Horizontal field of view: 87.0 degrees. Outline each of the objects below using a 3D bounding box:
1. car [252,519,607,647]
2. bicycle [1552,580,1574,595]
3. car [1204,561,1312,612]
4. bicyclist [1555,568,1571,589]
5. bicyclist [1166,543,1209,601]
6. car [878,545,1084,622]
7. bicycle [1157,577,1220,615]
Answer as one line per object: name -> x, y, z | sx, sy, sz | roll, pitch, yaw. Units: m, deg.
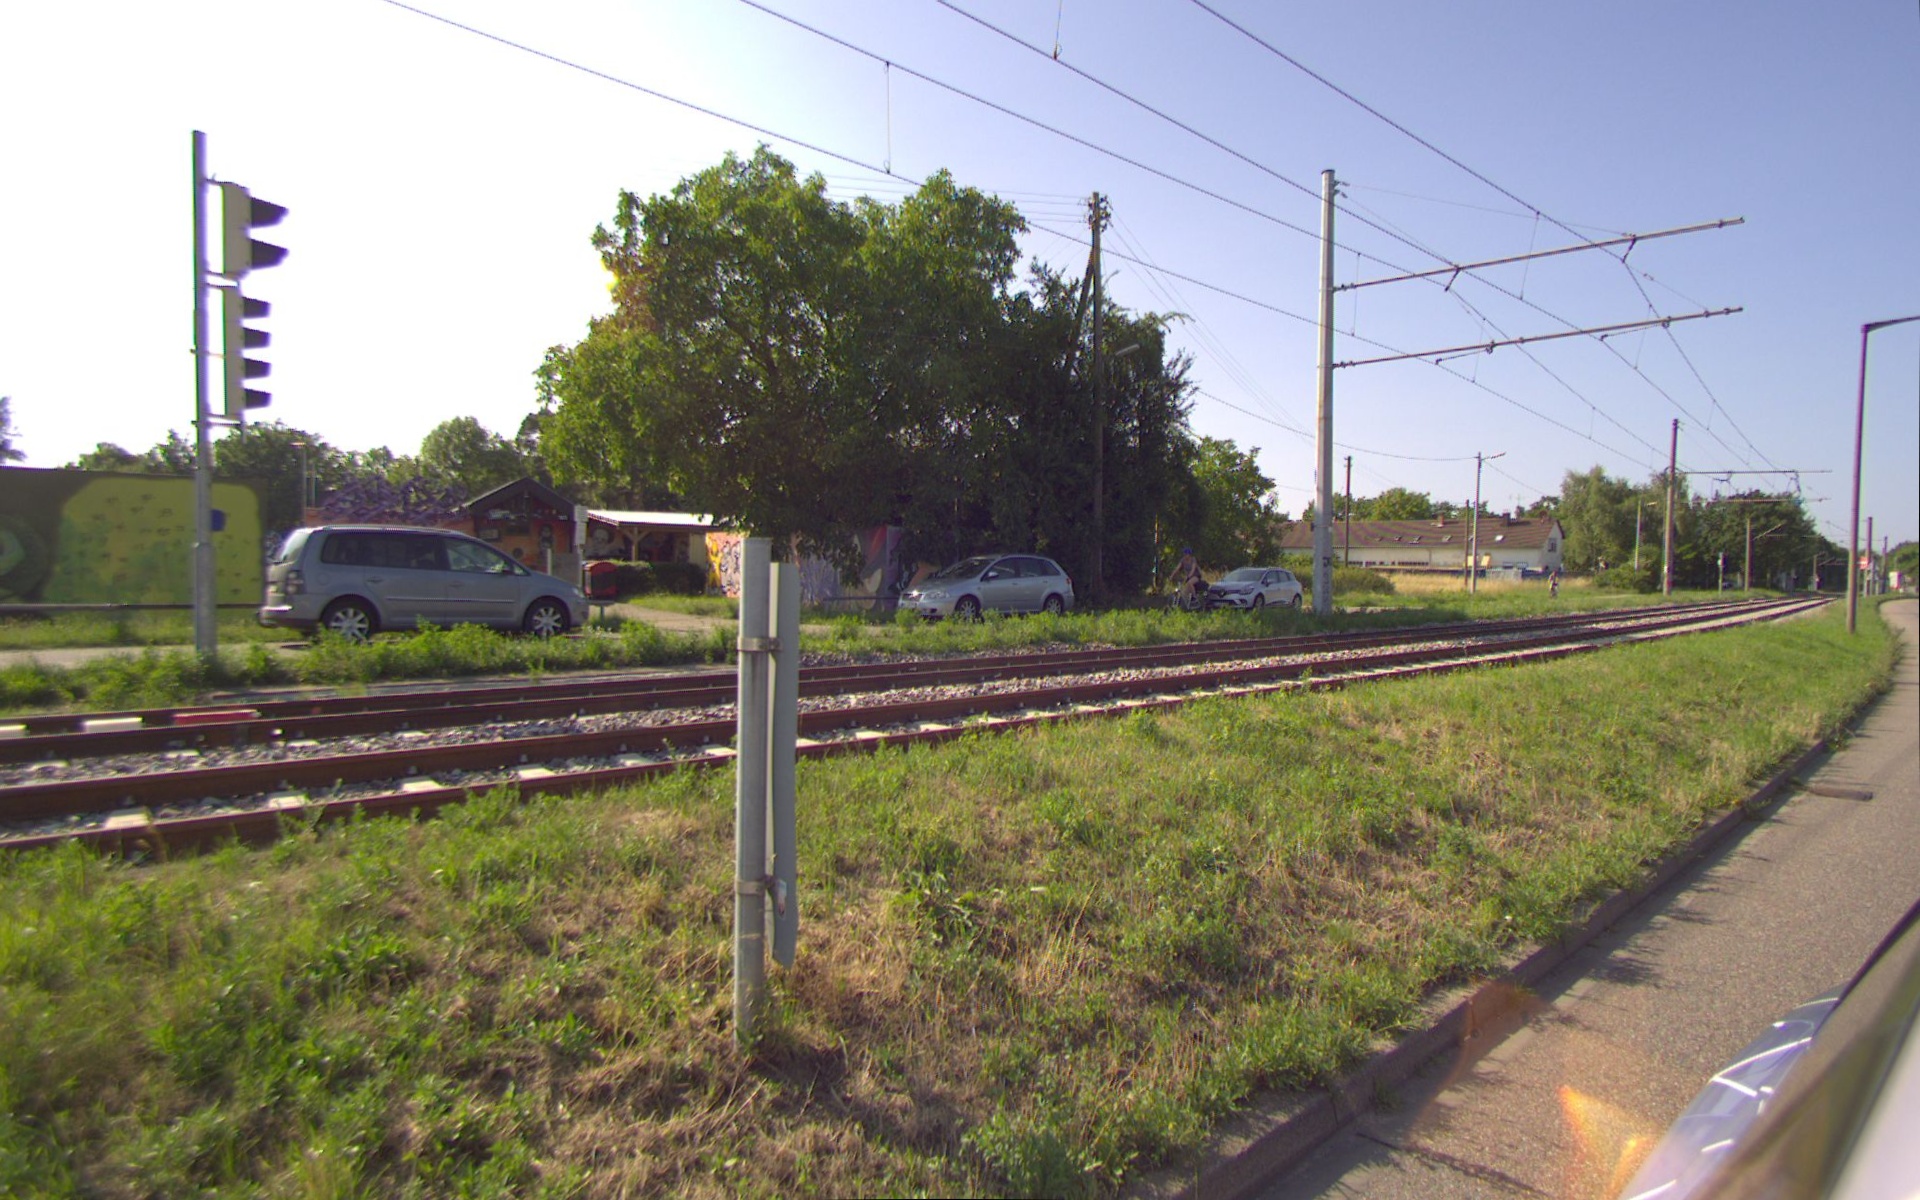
car -> -7.665, -0.261, 14.949 | 4.410, 1.630, 1.523 | 0, 2, -44
bicycle -> 36.075, -0.742, 60.528 | 1.783, 0.921, 0.643 | 0, 1, -44
car -> 9.378, -0.423, 31.682 | 1.535, 1.466, 4.066 | 3, 2, 44
bicyclist -> 36.086, -1.276, 60.533 | 0.778, 1.248, 0.640 | 0, 1, -44
bicyclist -> 5.704, -0.698, 25.376 | 0.946, 1.440, 0.630 | 0, 1, -44
car -> 0.558, -0.400, 23.427 | 4.643, 1.610, 1.912 | 0, 2, -40
bicycle -> 5.755, -0.104, 25.437 | 1.813, 0.921, 0.643 | -1, 1, -44
